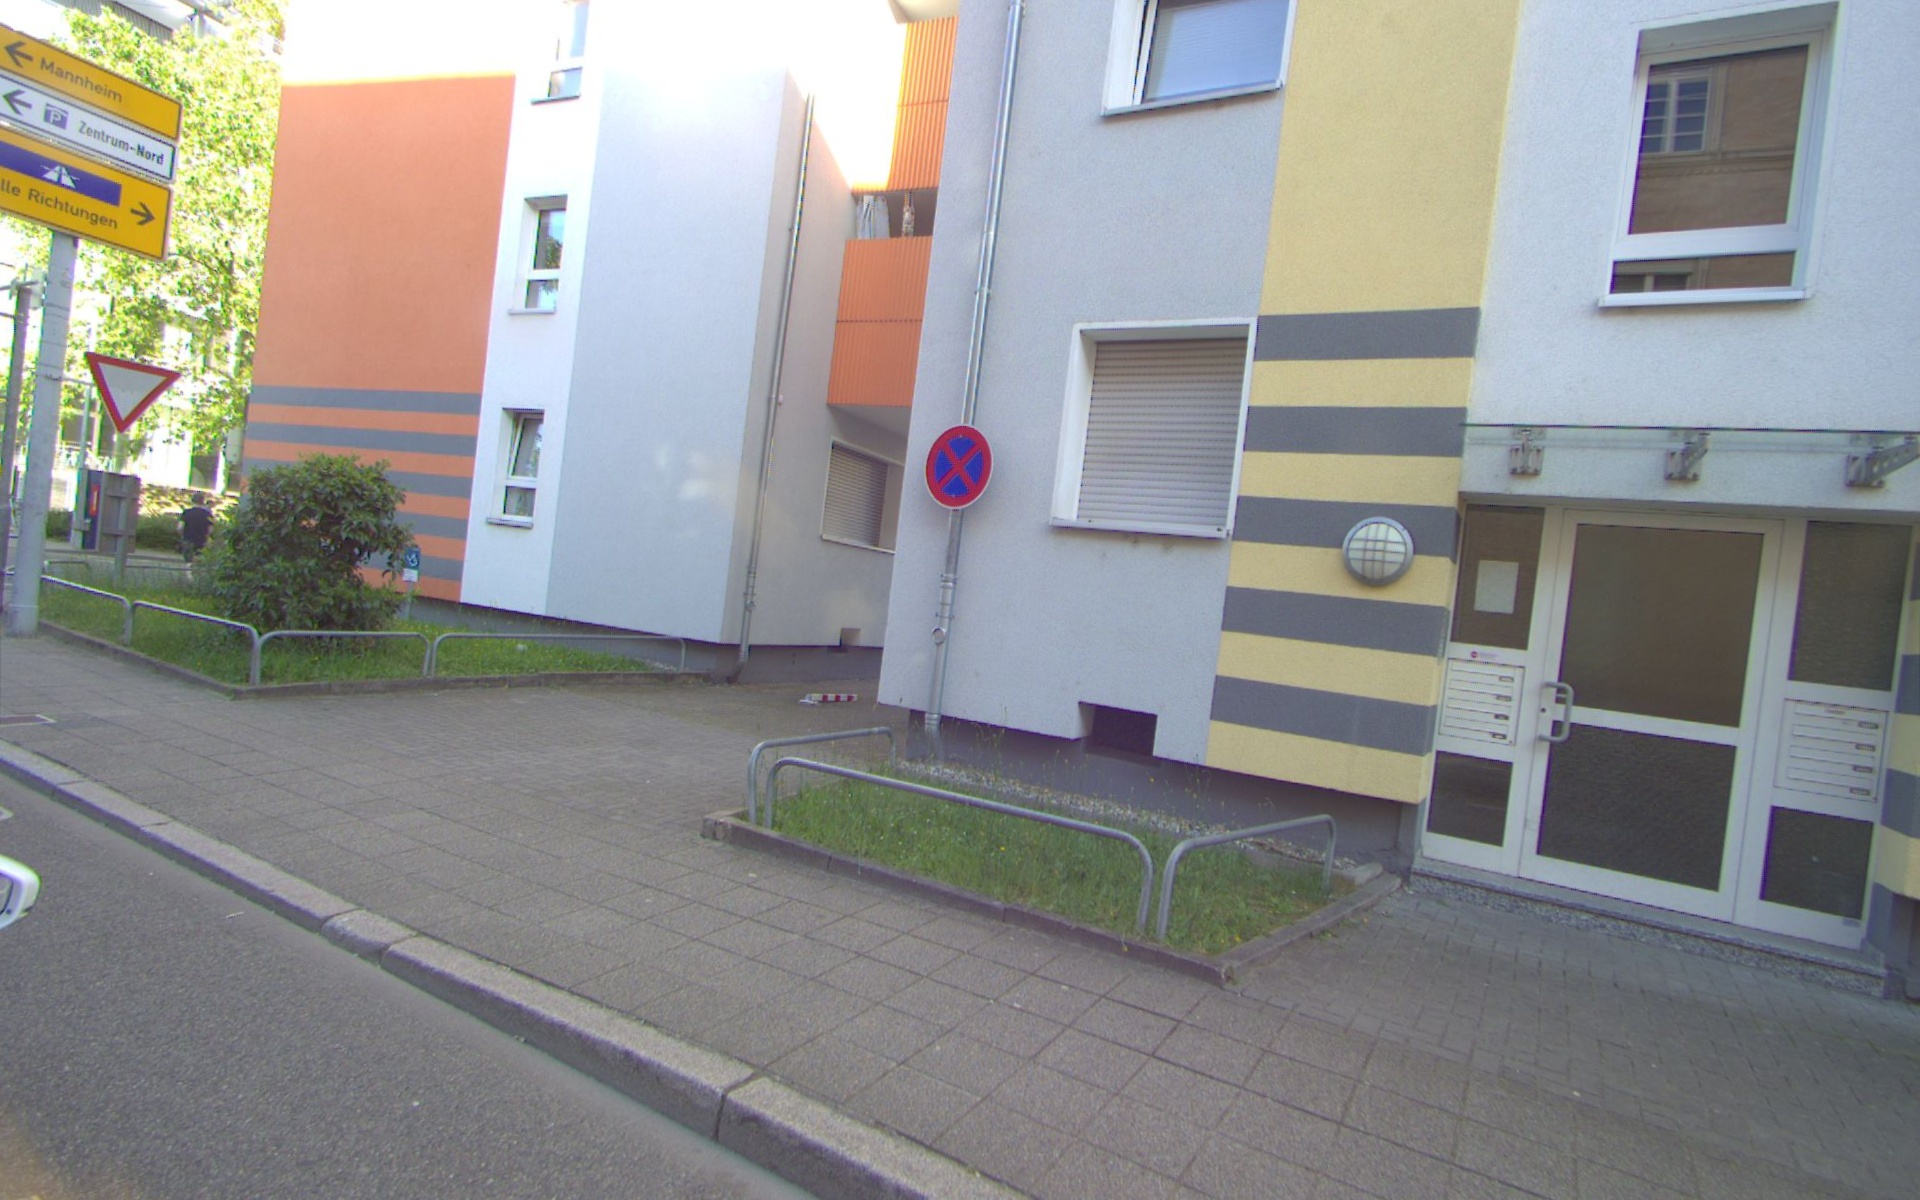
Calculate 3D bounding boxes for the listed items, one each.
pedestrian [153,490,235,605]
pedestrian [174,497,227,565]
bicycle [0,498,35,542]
[{"bbox_3d":[-13.428,-0.921,17.634,0.823,1.861,0.708,8,-1,32],"label":"pedestrian"},{"bbox_3d":[-22.682,-2.047,30.050,0.696,1.861,0.837,8,-1,22],"label":"pedestrian"},{"bbox_3d":[-26.306,-2.243,27.363,1.658,1.063,0.508,9,2,-3],"label":"bicycle"}]
